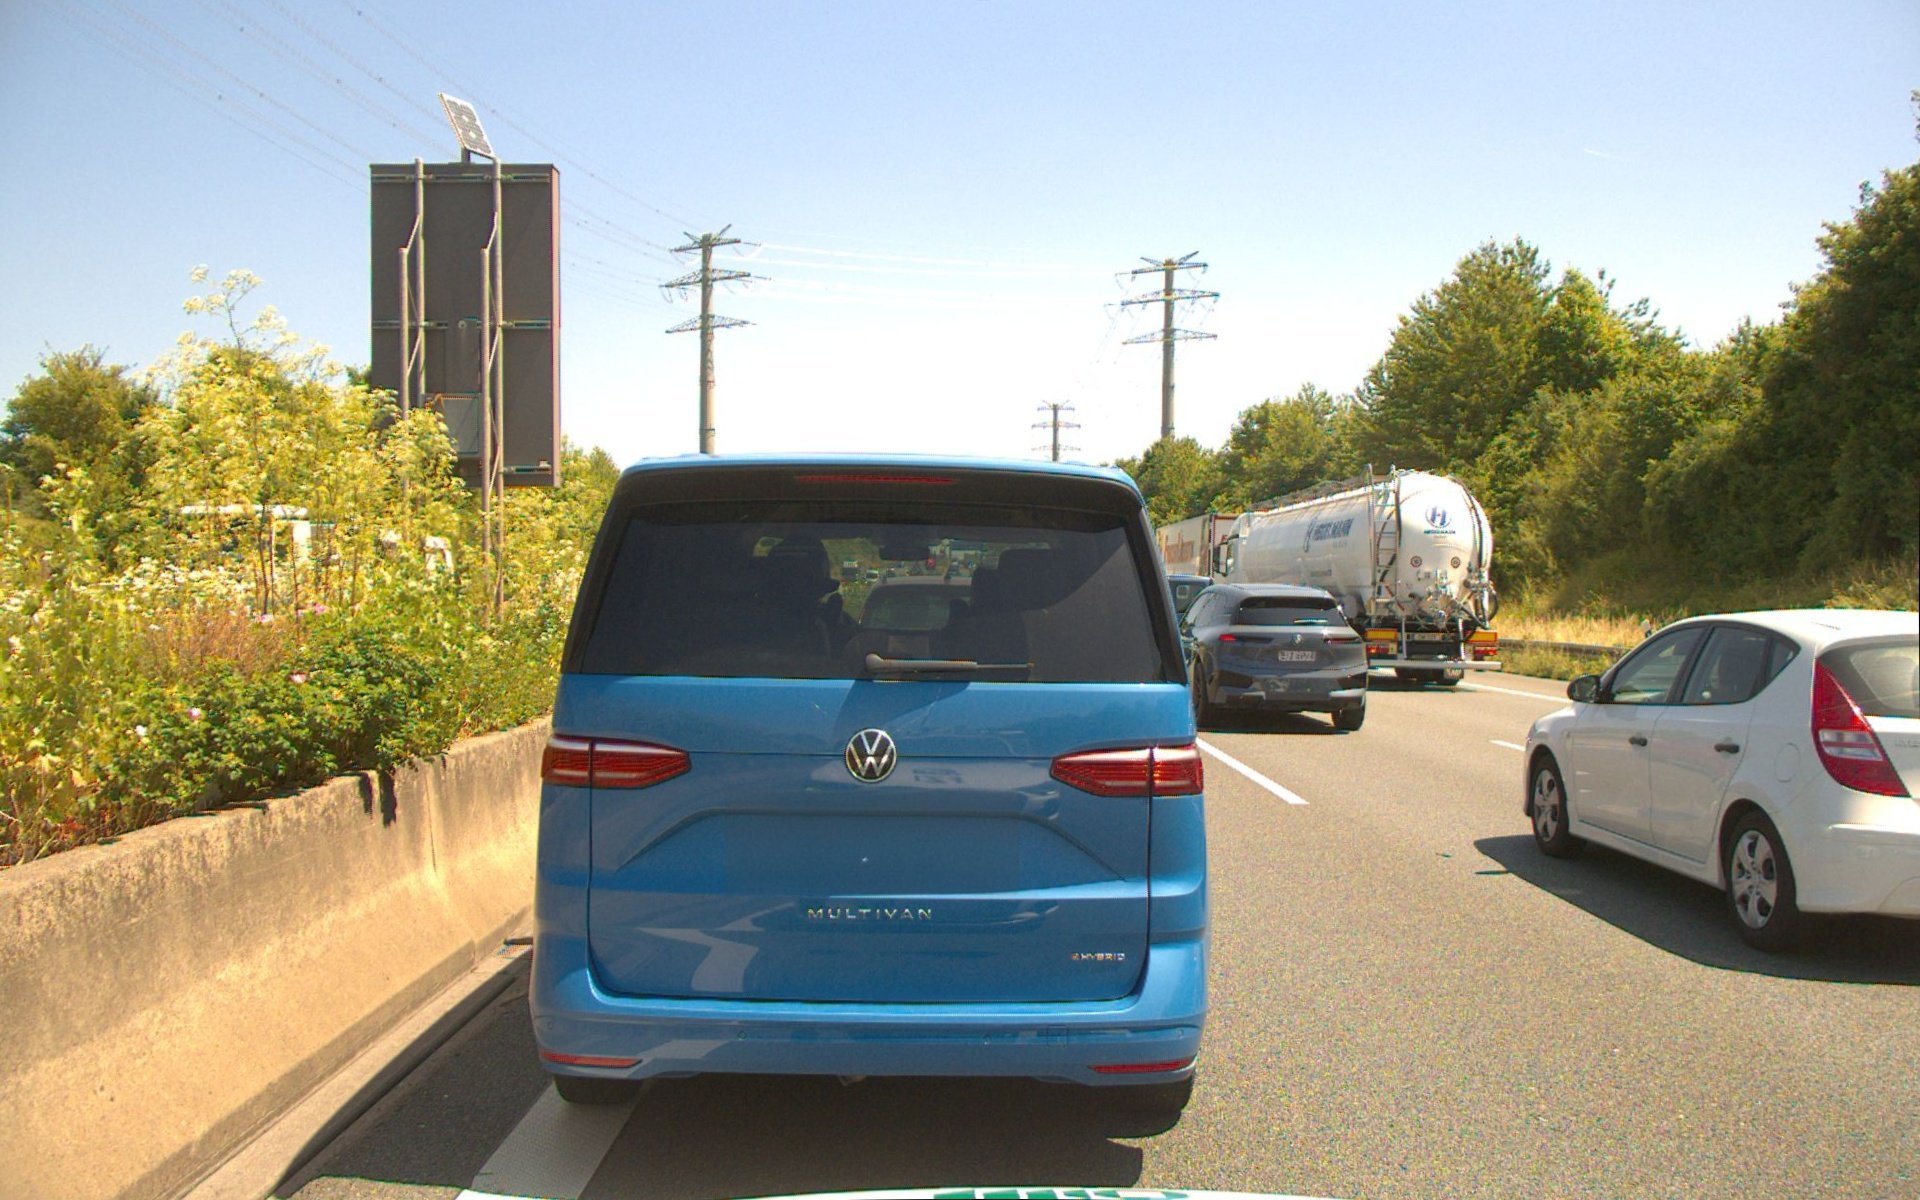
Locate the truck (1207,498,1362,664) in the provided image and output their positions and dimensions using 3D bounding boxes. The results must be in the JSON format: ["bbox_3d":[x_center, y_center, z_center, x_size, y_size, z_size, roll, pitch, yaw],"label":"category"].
[{"bbox_3d":[8.055,-0.456,41.742,2.736,3.903,5.571,0,0,-1],"label":"truck"}]

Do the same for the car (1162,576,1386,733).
[{"bbox_3d":[3.802,0.637,20.872,1.958,1.745,4.625,0,-1,0],"label":"car"}]

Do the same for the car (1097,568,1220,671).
[{"bbox_3d":[4.046,0.405,34.349,1.885,1.959,4.233,-1,-1,-2],"label":"car"}]

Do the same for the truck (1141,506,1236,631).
[{"bbox_3d":[8.633,-1.149,63.034,2.853,4.547,5.141,0,0,-1],"label":"truck"}]

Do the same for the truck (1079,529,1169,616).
[{"bbox_3d":[7.774,-1.173,80.521,2.944,3.832,15.712,0,0,0],"label":"truck"}]

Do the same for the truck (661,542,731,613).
[{"bbox_3d":[-14.452,-1.190,90.907,3.009,3.774,5.462,0,0,-1],"label":"truck"}]

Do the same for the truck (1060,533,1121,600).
[{"bbox_3d":[8.044,-1.974,103.513,2.836,3.832,13.344,0,0,0],"label":"truck"}]

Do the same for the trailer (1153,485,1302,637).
[{"bbox_3d":[8.731,-1.180,55.672,2.853,4.547,12.151,0,0,-1],"label":"trailer"}]

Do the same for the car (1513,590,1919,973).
[{"bbox_3d":[4.383,0.735,8.521,1.779,1.511,4.000,0,-1,1],"label":"car"}]

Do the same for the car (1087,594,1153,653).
[{"bbox_3d":[4.134,0.613,43.200,1.332,1.445,3.884,-1,-1,0],"label":"car"}]

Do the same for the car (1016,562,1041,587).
[{"bbox_3d":[5.940,-2.177,143.290,1.953,2.049,4.000,0,0,0],"label":"car"}]

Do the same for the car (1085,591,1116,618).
[{"bbox_3d":[10.889,0.335,128.413,1.953,2.049,3.999,0,0,-1],"label":"car"}]

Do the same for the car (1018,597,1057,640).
[{"bbox_3d":[3.875,0.924,82.801,1.798,2.033,4.000,-1,-1,1],"label":"car"}]

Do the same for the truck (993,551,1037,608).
[{"bbox_3d":[3.849,-1.373,117.866,2.836,3.832,10.140,0,0,0],"label":"truck"}]

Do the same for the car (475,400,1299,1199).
[{"bbox_3d":[-0.176,0.507,5.861,1.881,1.919,4.000,1,0,0],"label":"car"}]

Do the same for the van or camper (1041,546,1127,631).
[{"bbox_3d":[4.679,-0.397,63.523,2.896,3.075,7.103,0,0,1],"label":"van or camper"}]

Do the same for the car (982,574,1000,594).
[{"bbox_3d":[3.434,-1.814,184.237,1.953,2.163,3.999,0,0,-1],"label":"car"}]

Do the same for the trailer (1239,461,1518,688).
[{"bbox_3d":[8.193,-0.451,34.257,2.705,3.912,11.484,0,0,-1],"label":"trailer"}]

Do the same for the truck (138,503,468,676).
[{"bbox_3d":[-14.474,-0.211,37.894,2.708,3.346,11.820,0,0,1],"label":"truck"}]

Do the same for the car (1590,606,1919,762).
[{"bbox_3d":[8.291,0.812,17.635,1.607,1.441,3.988,-1,-1,0],"label":"car"}]
